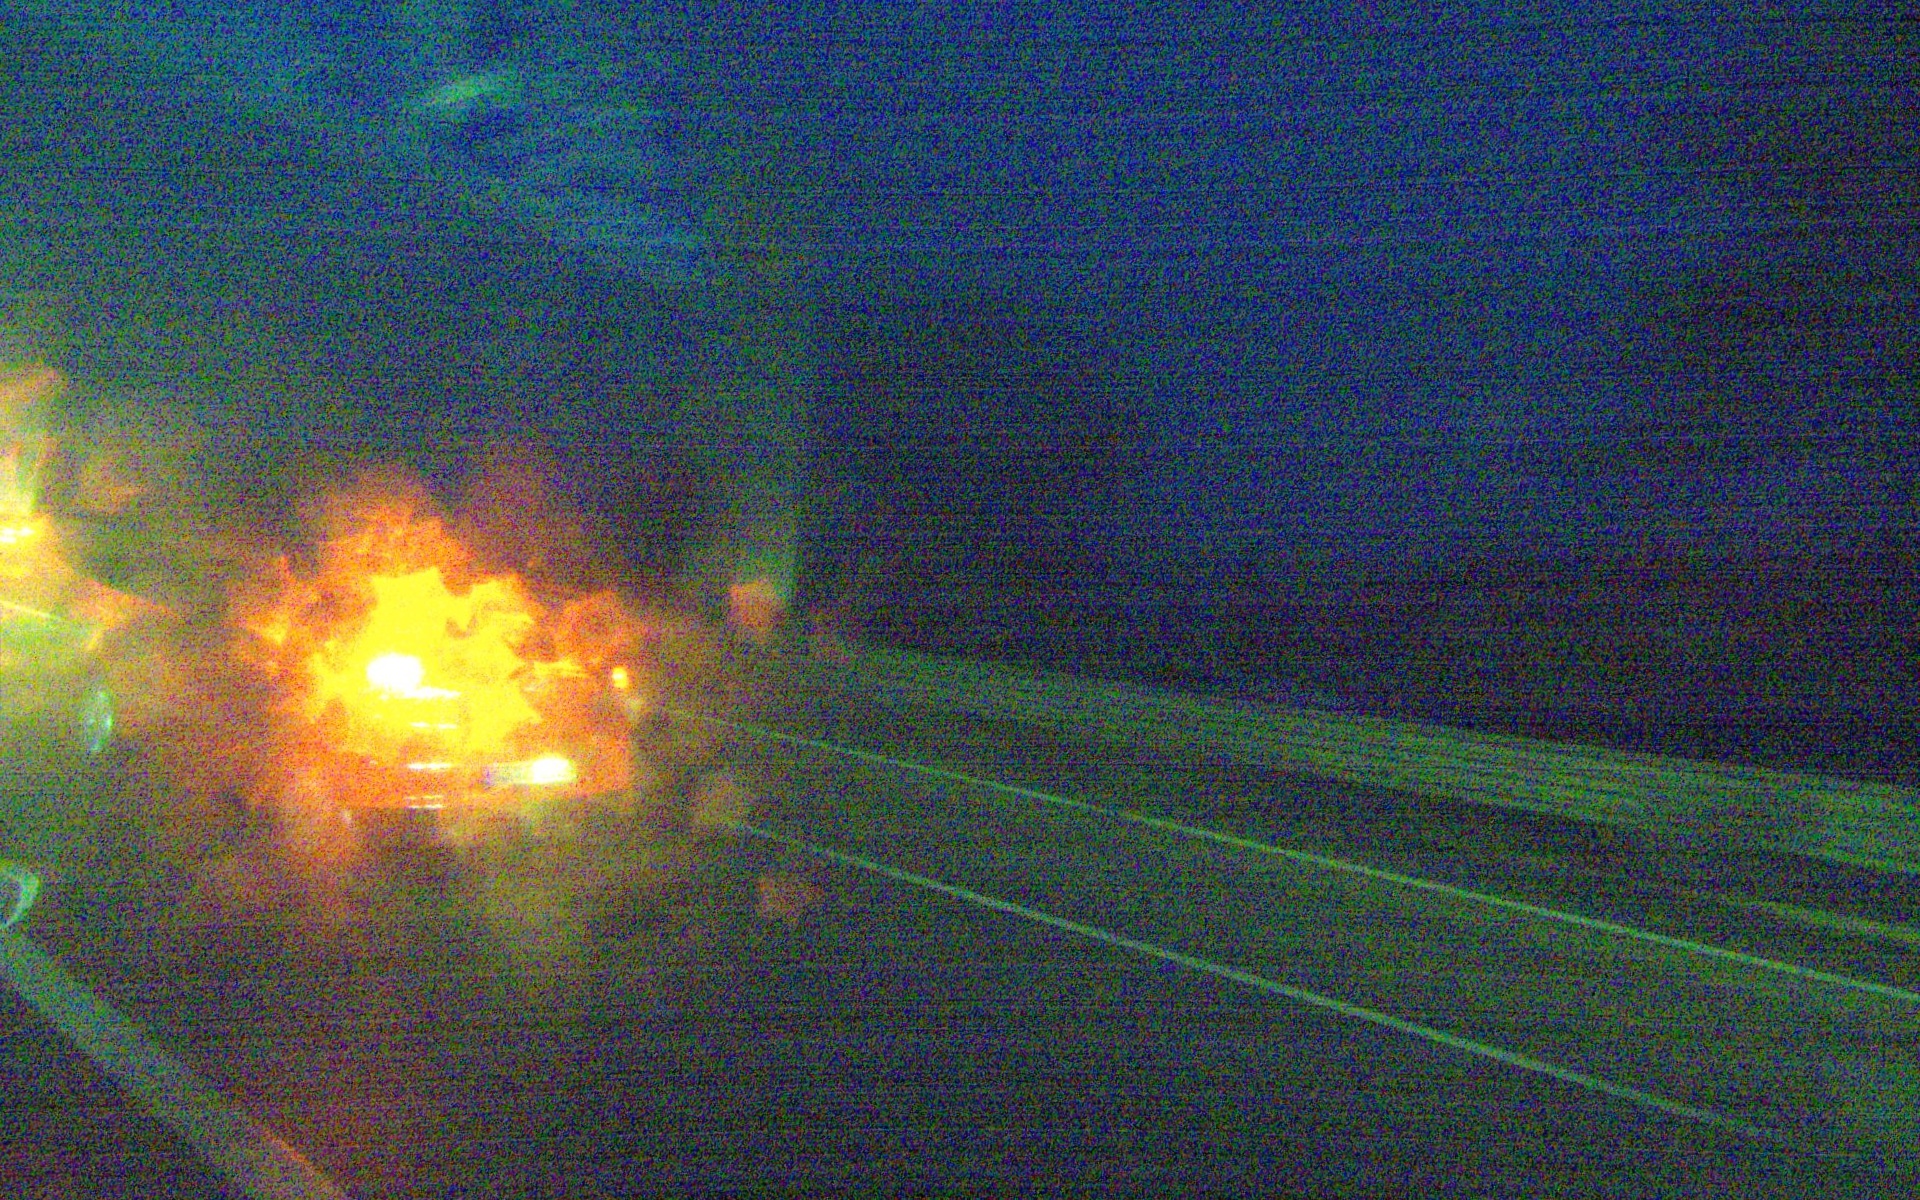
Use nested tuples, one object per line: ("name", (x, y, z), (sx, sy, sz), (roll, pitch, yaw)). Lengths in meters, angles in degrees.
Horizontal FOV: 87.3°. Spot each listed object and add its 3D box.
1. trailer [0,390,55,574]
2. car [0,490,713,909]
("trailer", (-28.418, -3.454, 26.403), (14.247, 4.161, 2.905), (7, 1, 32))
("car", (-3.789, 0.357, 6.057), (4.419, 1.594, 1.743), (6, -1, 31))
